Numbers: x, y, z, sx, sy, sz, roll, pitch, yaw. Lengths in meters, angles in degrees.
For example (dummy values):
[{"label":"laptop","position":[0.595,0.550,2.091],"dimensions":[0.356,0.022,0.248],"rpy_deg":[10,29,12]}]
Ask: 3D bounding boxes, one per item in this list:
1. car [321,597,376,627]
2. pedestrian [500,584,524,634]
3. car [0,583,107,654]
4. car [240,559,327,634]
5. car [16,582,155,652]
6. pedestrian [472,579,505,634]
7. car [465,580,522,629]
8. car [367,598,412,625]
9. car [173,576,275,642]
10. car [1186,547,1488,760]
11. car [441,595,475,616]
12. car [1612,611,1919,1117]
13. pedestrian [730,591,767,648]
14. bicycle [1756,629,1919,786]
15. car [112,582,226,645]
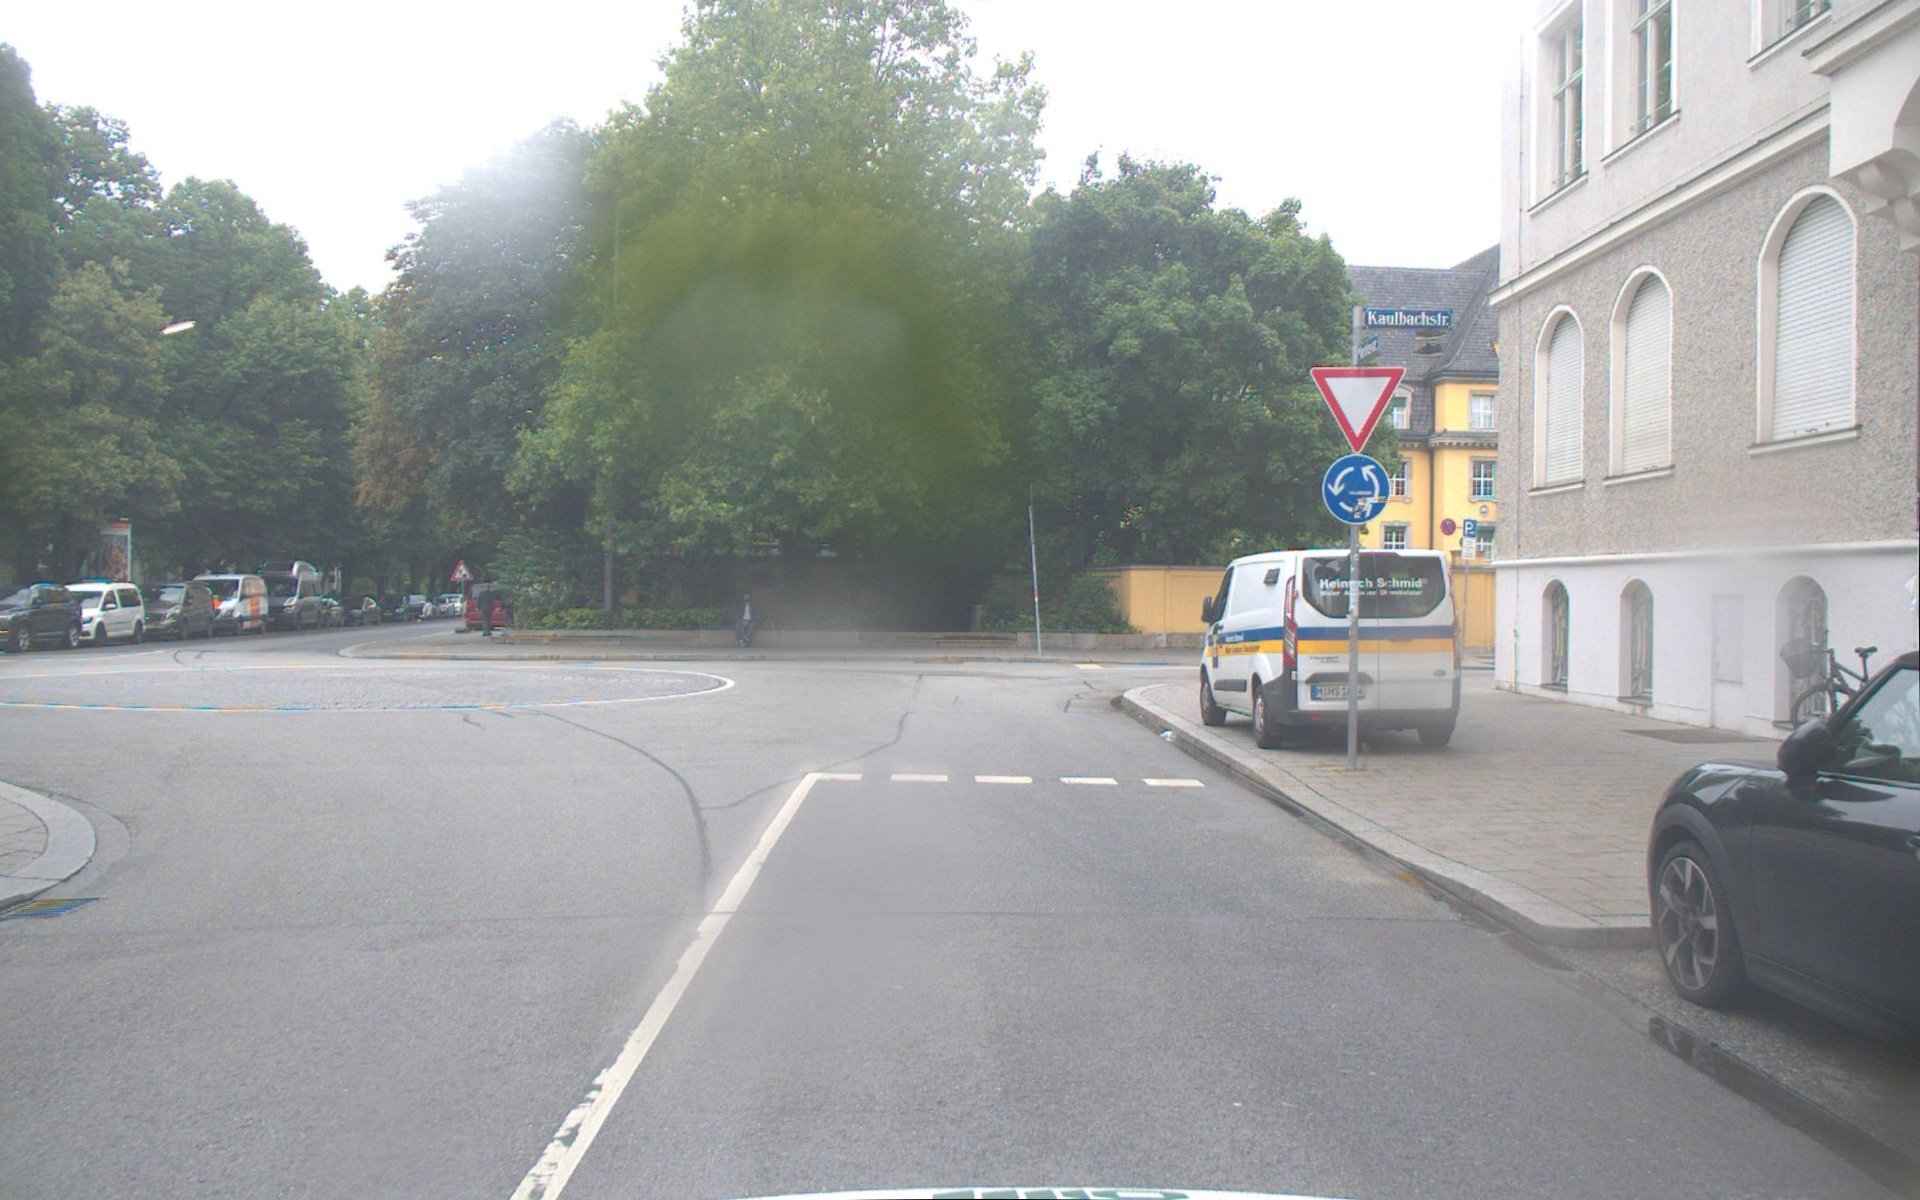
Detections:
[{"label":"car","position":[-30.408,0.591,82.309],"dimensions":[1.958,1.445,4.117],"rpy_deg":[0,0,-12]},{"label":"pedestrian","position":[-15.332,0.297,56.648],"dimensions":[0.627,1.696,0.690],"rpy_deg":[0,0,-31]},{"label":"car","position":[-24.507,0.453,43.325],"dimensions":[2.044,1.749,5.297],"rpy_deg":[0,0,-6]},{"label":"car","position":[-28.952,-0.144,71.023],"dimensions":[2.133,3.055,6.219],"rpy_deg":[0,0,-10]},{"label":"car","position":[-25.490,0.479,48.409],"dimensions":[2.044,1.937,4.850],"rpy_deg":[0,0,-8]},{"label":"pedestrian","position":[-16.179,0.210,56.741],"dimensions":[0.813,1.868,0.940],"rpy_deg":[0,0,-36]},{"label":"car","position":[-19.674,0.193,69.861],"dimensions":[1.877,1.971,4.956],"rpy_deg":[0,0,-11]},{"label":"car","position":[-32.915,0.642,95.538],"dimensions":[1.958,1.513,4.117],"rpy_deg":[0,0,-12]},{"label":"car","position":[-27.600,0.319,62.218],"dimensions":[2.045,2.304,5.591],"rpy_deg":[-1,0,-8]},{"label":"car","position":[3.885,0.478,18.088],"dimensions":[1.899,1.955,5.372],"rpy_deg":[-1,0,-2]},{"label":"car","position":[-35.688,0.385,117.675],"dimensions":[1.958,1.513,4.117],"rpy_deg":[0,0,-12]},{"label":"car","position":[3.660,0.787,5.187],"dimensions":[1.677,1.470,3.827],"rpy_deg":[0,0,-1]},{"label":"pedestrian","position":[-5.205,0.467,40.699],"dimensions":[0.753,1.380,1.131],"rpy_deg":[0,0,0]},{"label":"bicycle","position":[7.926,0.870,14.157],"dimensions":[0.822,1.132,2.757],"rpy_deg":[-3,0,-1]},{"label":"car","position":[-26.311,0.428,55.236],"dimensions":[1.989,1.941,5.653],"rpy_deg":[-1,0,-10]}]
